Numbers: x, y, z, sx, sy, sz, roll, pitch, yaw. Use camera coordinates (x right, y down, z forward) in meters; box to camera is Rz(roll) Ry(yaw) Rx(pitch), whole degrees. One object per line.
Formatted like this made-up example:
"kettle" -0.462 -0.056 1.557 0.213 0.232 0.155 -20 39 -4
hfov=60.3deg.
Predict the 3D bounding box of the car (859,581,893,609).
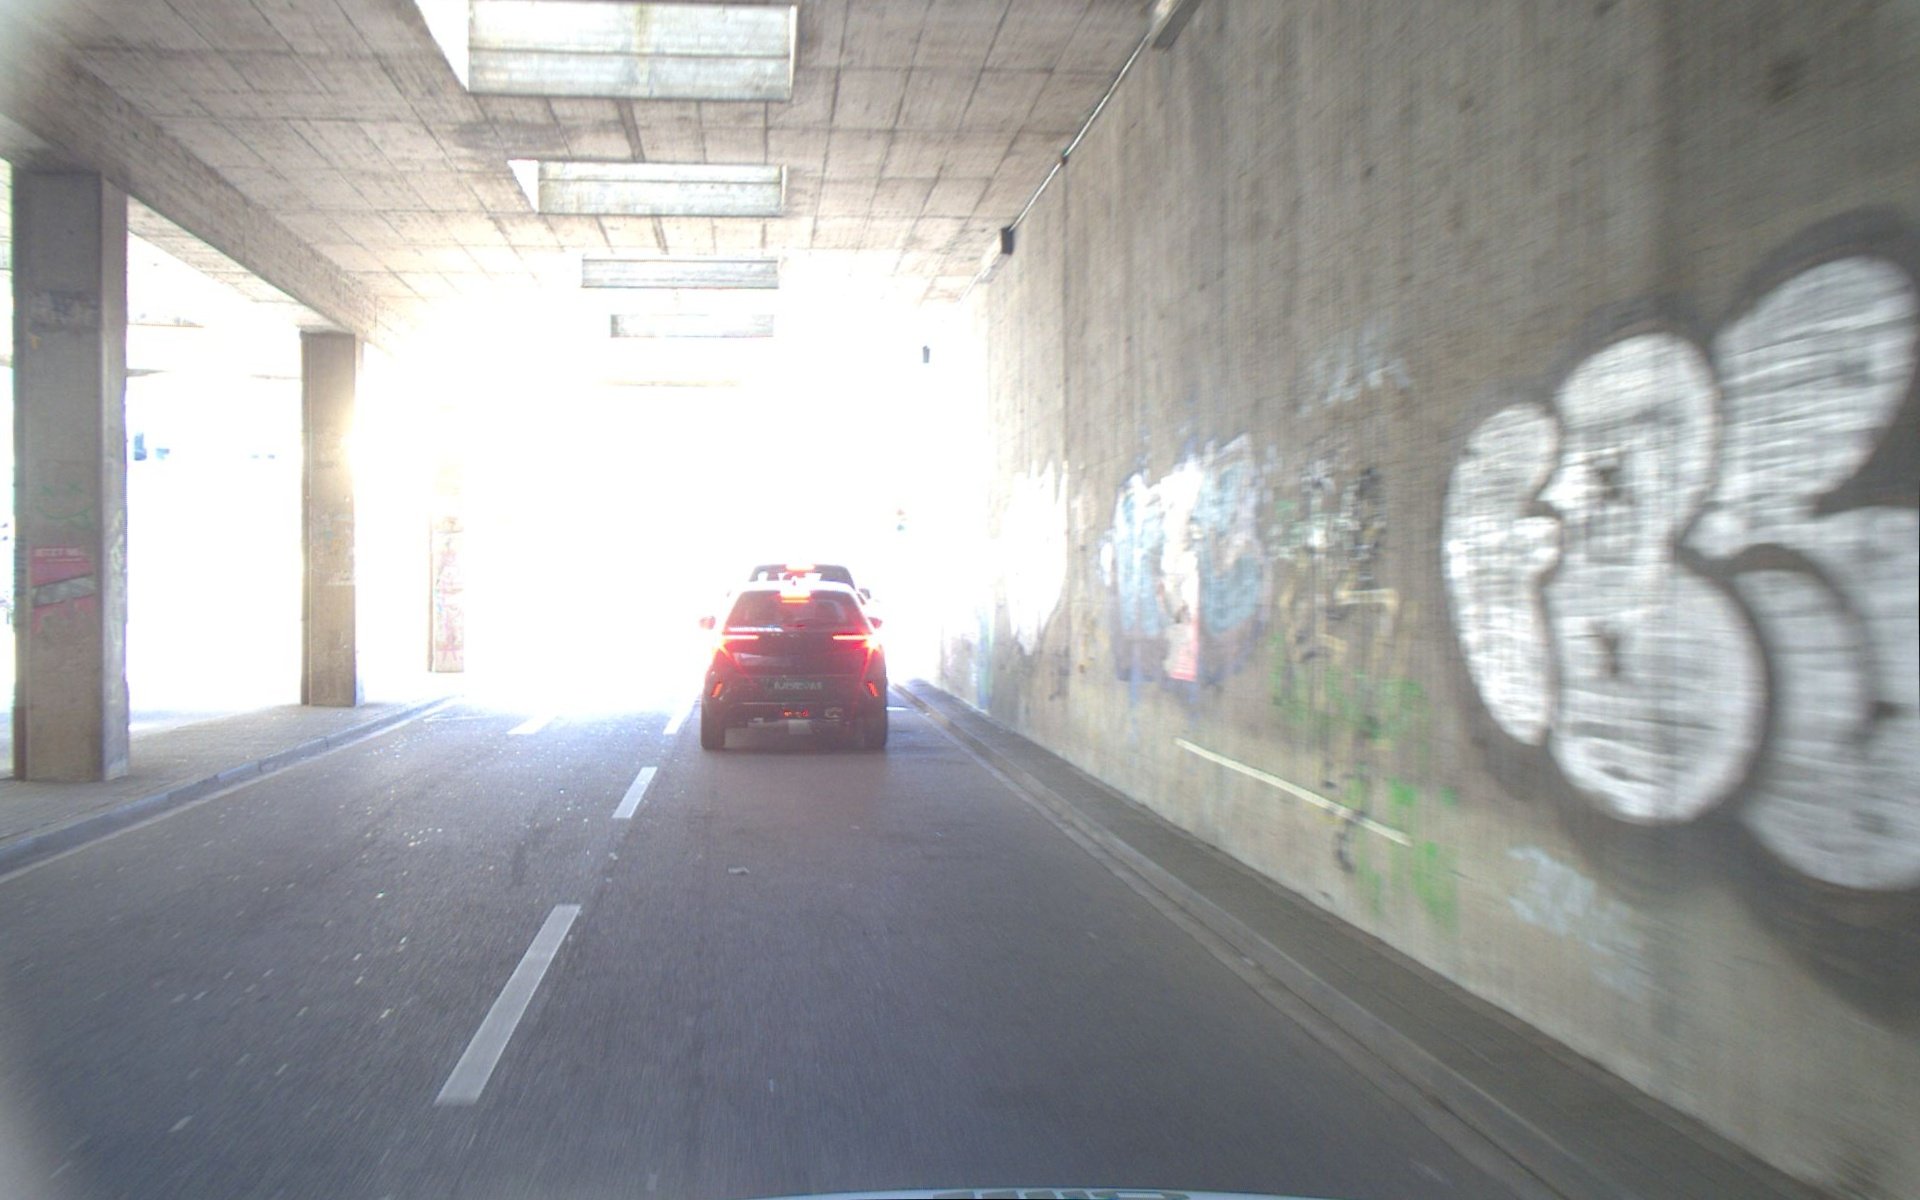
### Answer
"car" -6.383 -0.398 125.646 1.951 2.049 4.271 0 0 5

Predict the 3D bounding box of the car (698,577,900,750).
"car" -1.661 0.548 16.817 1.791 1.527 4.205 0 0 -7

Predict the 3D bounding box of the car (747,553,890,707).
"car" -2.041 0.349 22.913 1.781 1.915 4.578 0 1 -7

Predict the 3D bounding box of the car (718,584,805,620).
"car" -9.928 0.101 82.929 4.066 1.769 2.000 0 0 0

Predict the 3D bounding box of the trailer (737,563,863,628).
"trailer" -5.088 -0.147 53.122 3.907 2.049 1.999 0 0 -2

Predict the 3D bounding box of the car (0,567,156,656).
"car" -22.486 0.259 40.741 4.394 2.048 1.997 1 2 -7

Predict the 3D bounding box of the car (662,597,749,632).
"car" -12.073 0.672 78.591 3.907 1.601 1.639 0 0 -3
